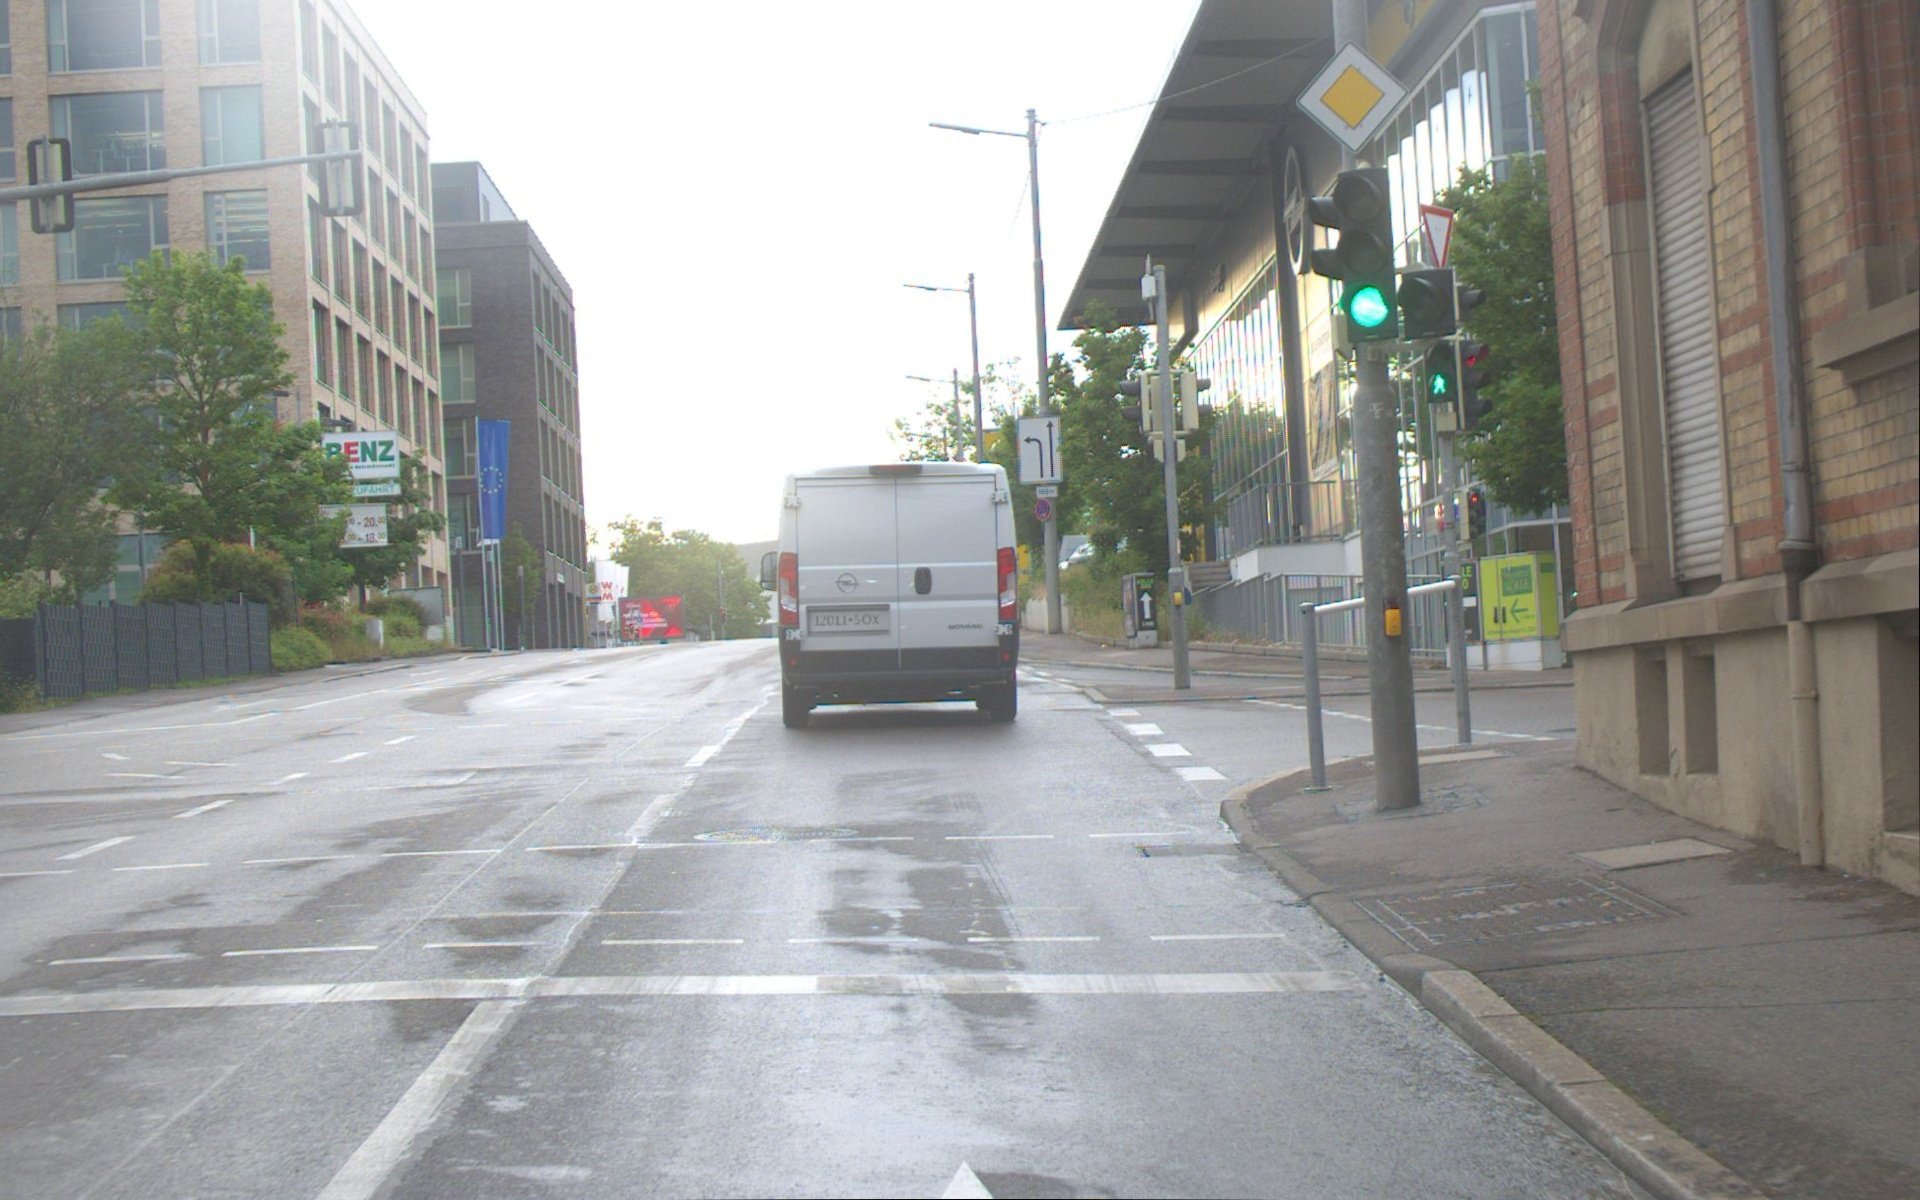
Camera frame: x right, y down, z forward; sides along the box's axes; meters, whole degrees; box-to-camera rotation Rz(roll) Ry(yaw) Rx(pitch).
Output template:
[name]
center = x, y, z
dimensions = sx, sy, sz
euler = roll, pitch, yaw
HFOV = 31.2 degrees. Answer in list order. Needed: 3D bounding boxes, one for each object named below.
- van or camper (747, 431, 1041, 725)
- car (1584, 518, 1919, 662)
[van or camper]
center = -0.574, -0.171, 30.930
dimensions = 2.340, 2.349, 5.199
euler = -2, 0, -1
[car]
center = 10.014, -0.086, 42.831
dimensions = 3.992, 1.503, 1.895
euler = -3, -4, 26
